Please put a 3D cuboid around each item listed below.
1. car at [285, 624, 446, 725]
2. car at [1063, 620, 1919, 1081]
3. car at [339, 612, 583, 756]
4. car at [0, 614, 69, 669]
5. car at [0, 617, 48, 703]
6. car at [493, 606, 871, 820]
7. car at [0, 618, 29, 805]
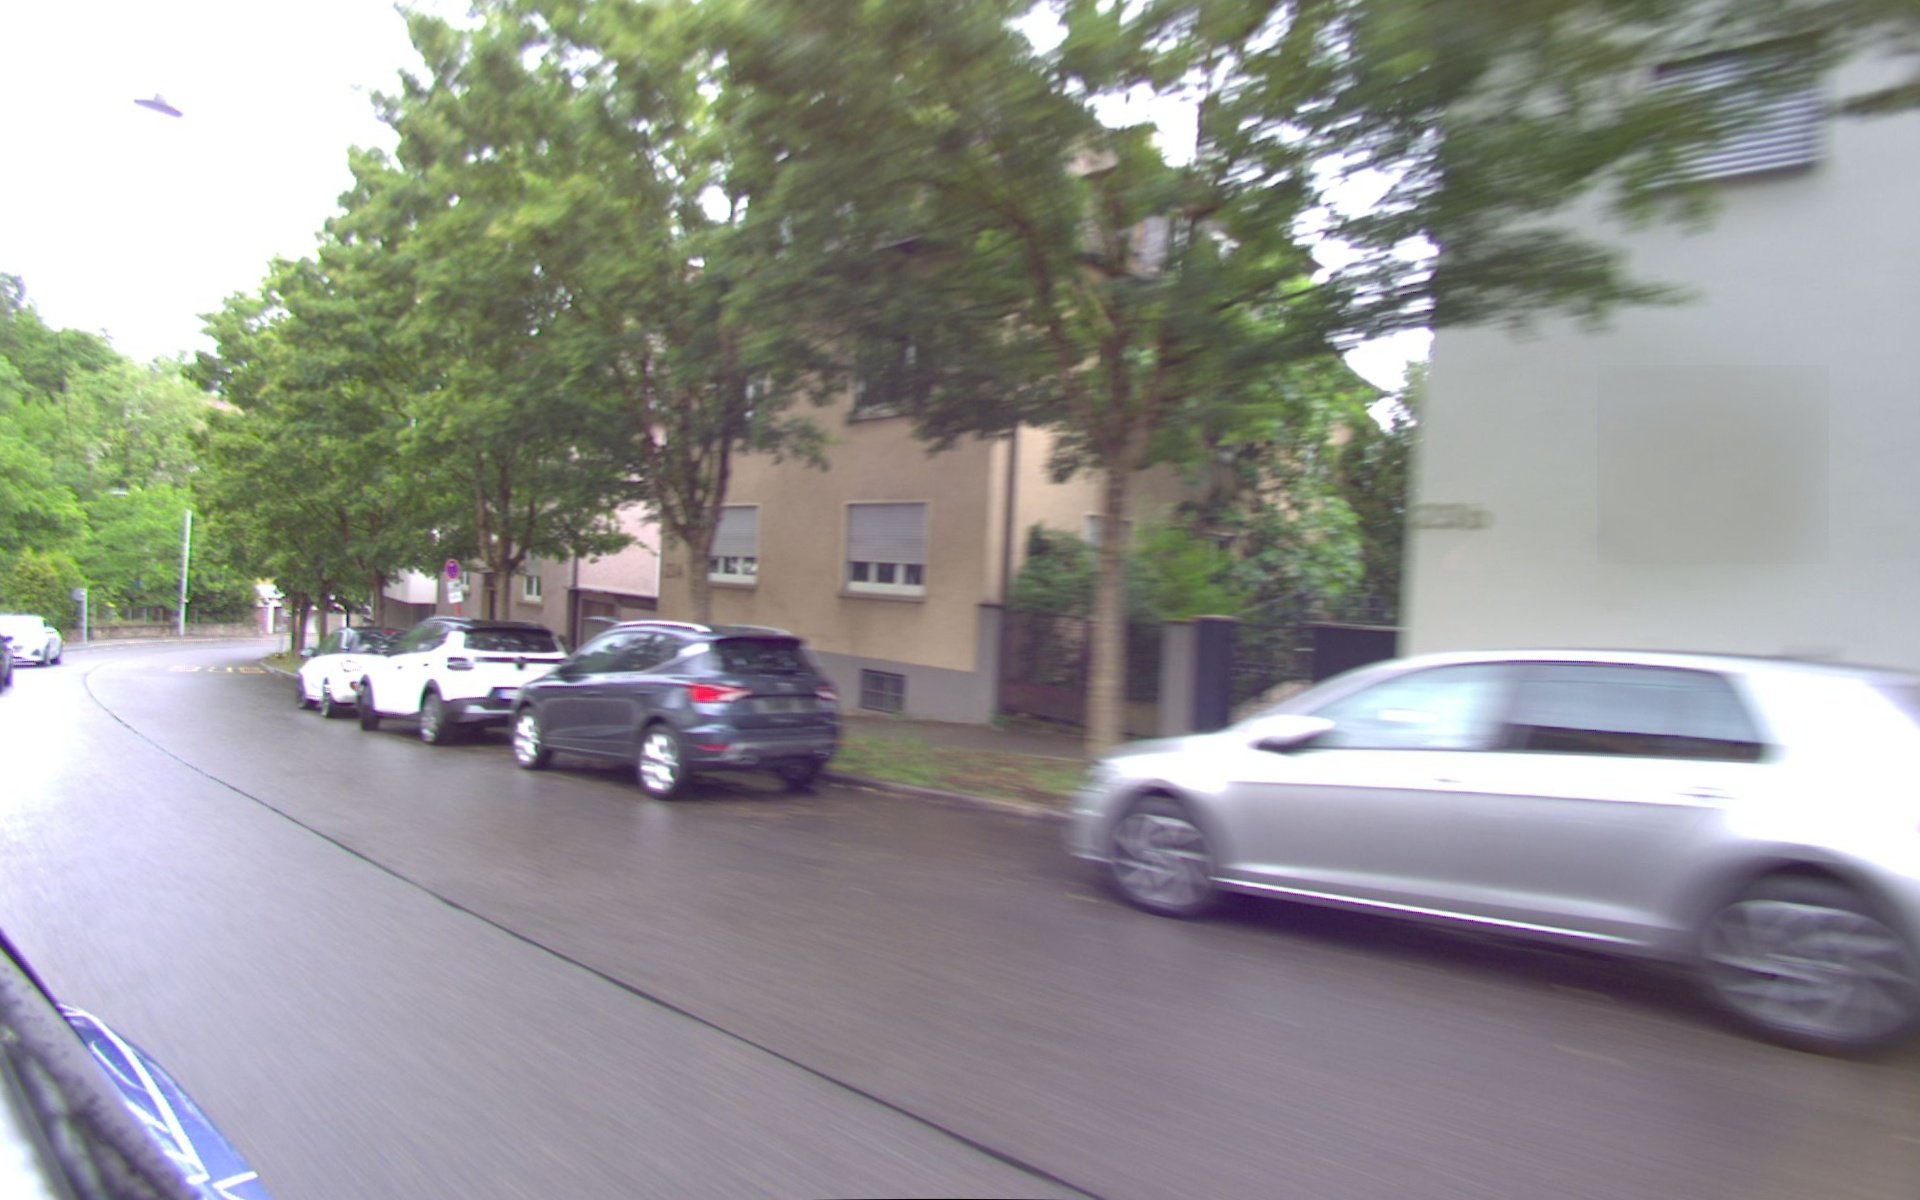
[{"bbox_3d":[-10.229,1.230,17.303,1.598,1.482,3.674,9,-7,-41],"label":"car"},{"bbox_3d":[2.617,0.913,4.949,3.970,1.481,1.601,0,-5,41],"label":"car"},{"bbox_3d":[-6.878,1.079,13.787,3.924,1.671,1.575,0,-7,43],"label":"car"},{"bbox_3d":[-30.341,1.315,32.469,1.980,1.674,4.457,3,-3,-34],"label":"car"},{"bbox_3d":[-18.588,1.051,18.688,4.010,1.500,1.786,-1,-3,37],"label":"car"},{"bbox_3d":[-2.832,0.966,9.877,3.923,1.671,1.600,0,-6,42],"label":"car"},{"bbox_3d":[-7.687,0.836,6.833,1.553,1.463,3.596,1,-2,-35],"label":"car"}]
